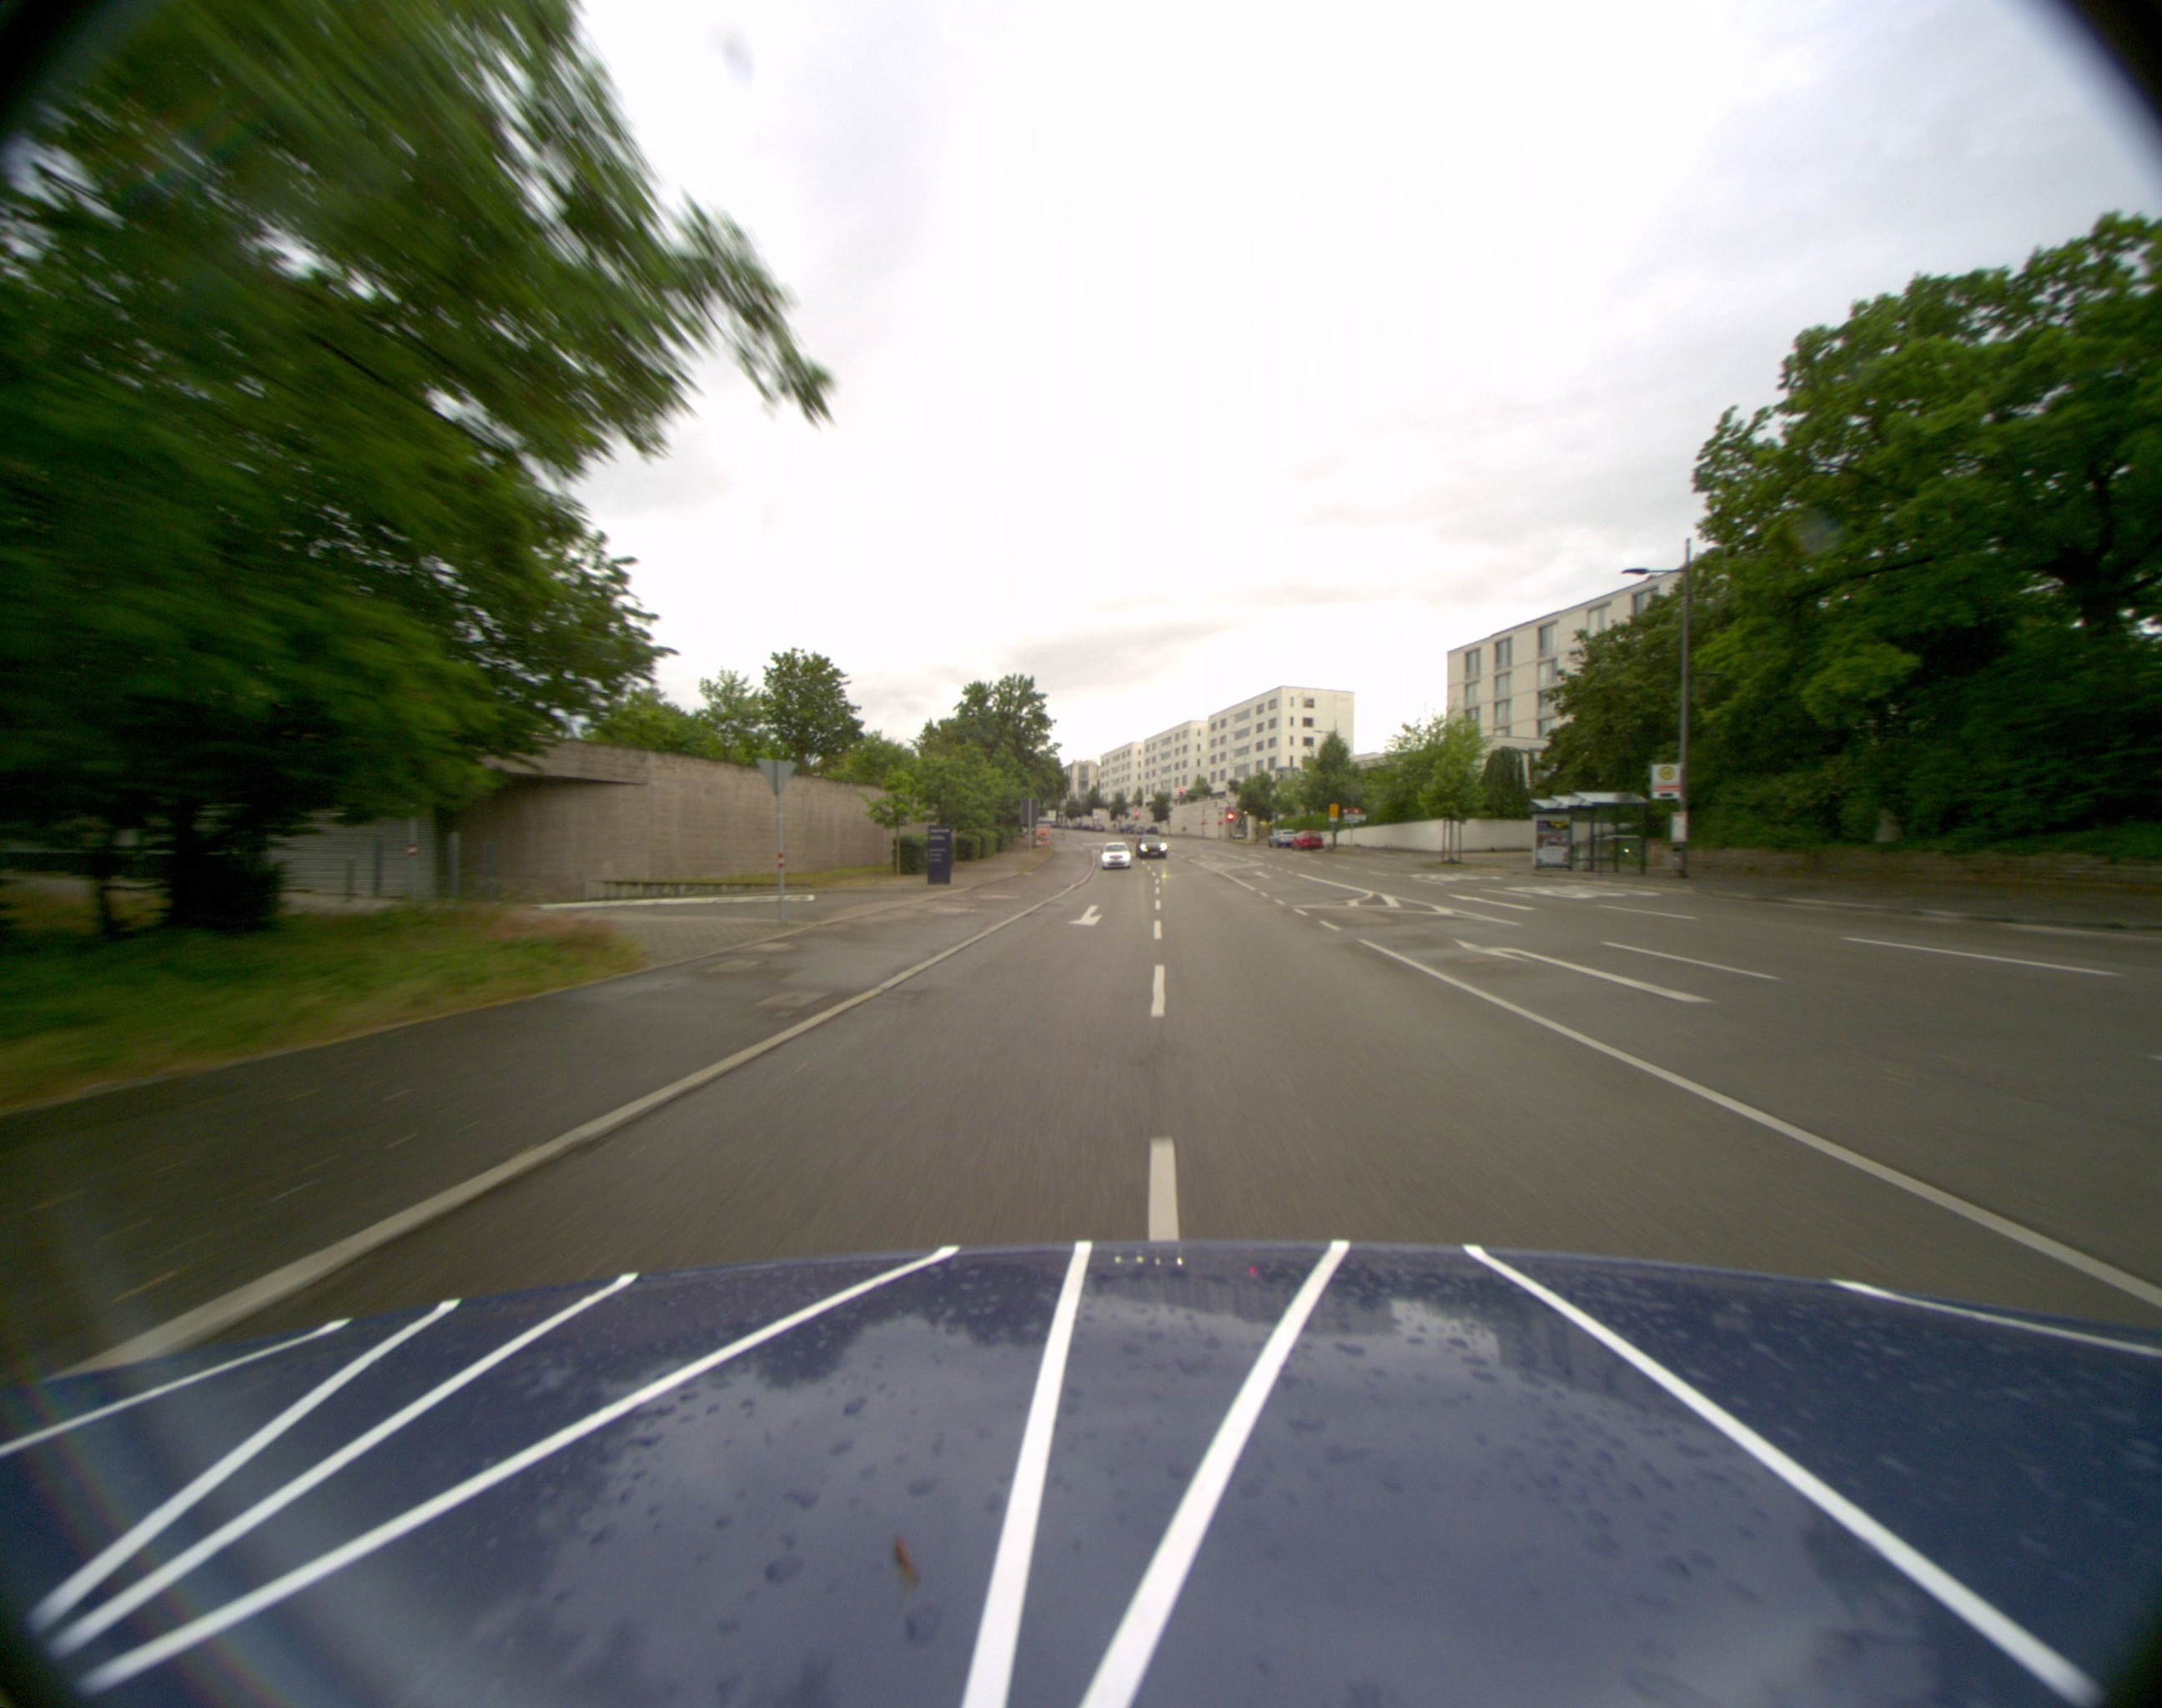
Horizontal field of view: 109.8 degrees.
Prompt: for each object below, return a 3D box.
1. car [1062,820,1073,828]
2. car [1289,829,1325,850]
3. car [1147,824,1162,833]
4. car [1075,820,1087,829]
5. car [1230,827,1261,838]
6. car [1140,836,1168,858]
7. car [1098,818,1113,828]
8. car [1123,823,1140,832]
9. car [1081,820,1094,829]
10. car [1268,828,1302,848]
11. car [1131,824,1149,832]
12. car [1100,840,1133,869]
[{"bbox_3d":[-3.415,-7.636,192.306,1.926,2.002,4.379,-1,1,-14],"label":"car"},{"bbox_3d":[18.422,-1.199,62.109,1.669,1.578,4.215,1,3,0],"label":"car"},{"bbox_3d":[12.900,-4.449,133.599,1.683,1.451,2.690,0,3,-18],"label":"car"},{"bbox_3d":[-0.043,-6.981,178.792,1.926,2.002,4.379,-1,1,-14],"label":"car"},{"bbox_3d":[25.430,-3.367,117.501,4.350,1.643,1.996,0,3,-17],"label":"car"},{"bbox_3d":[5.441,-0.564,57.088,1.829,1.584,4.000,-1,1,2],"label":"car"},{"bbox_3d":[5.049,-6.293,154.972,1.926,2.002,4.379,-1,1,-14],"label":"car"},{"bbox_3d":[9.491,-4.960,143.622,1.792,1.623,3.992,0,3,-17],"label":"car"},{"bbox_3d":[1.567,-6.686,173.491,1.926,2.002,4.379,-1,1,-14],"label":"car"},{"bbox_3d":[18.521,-1.506,69.067,1.768,1.644,4.881,-1,3,0],"label":"car"},{"bbox_3d":[10.843,-4.739,139.165,1.865,1.470,3.992,0,3,-17],"label":"car"},{"bbox_3d":[2.194,0.019,46.293,1.926,1.652,4.001,0,0,3],"label":"car"}]
